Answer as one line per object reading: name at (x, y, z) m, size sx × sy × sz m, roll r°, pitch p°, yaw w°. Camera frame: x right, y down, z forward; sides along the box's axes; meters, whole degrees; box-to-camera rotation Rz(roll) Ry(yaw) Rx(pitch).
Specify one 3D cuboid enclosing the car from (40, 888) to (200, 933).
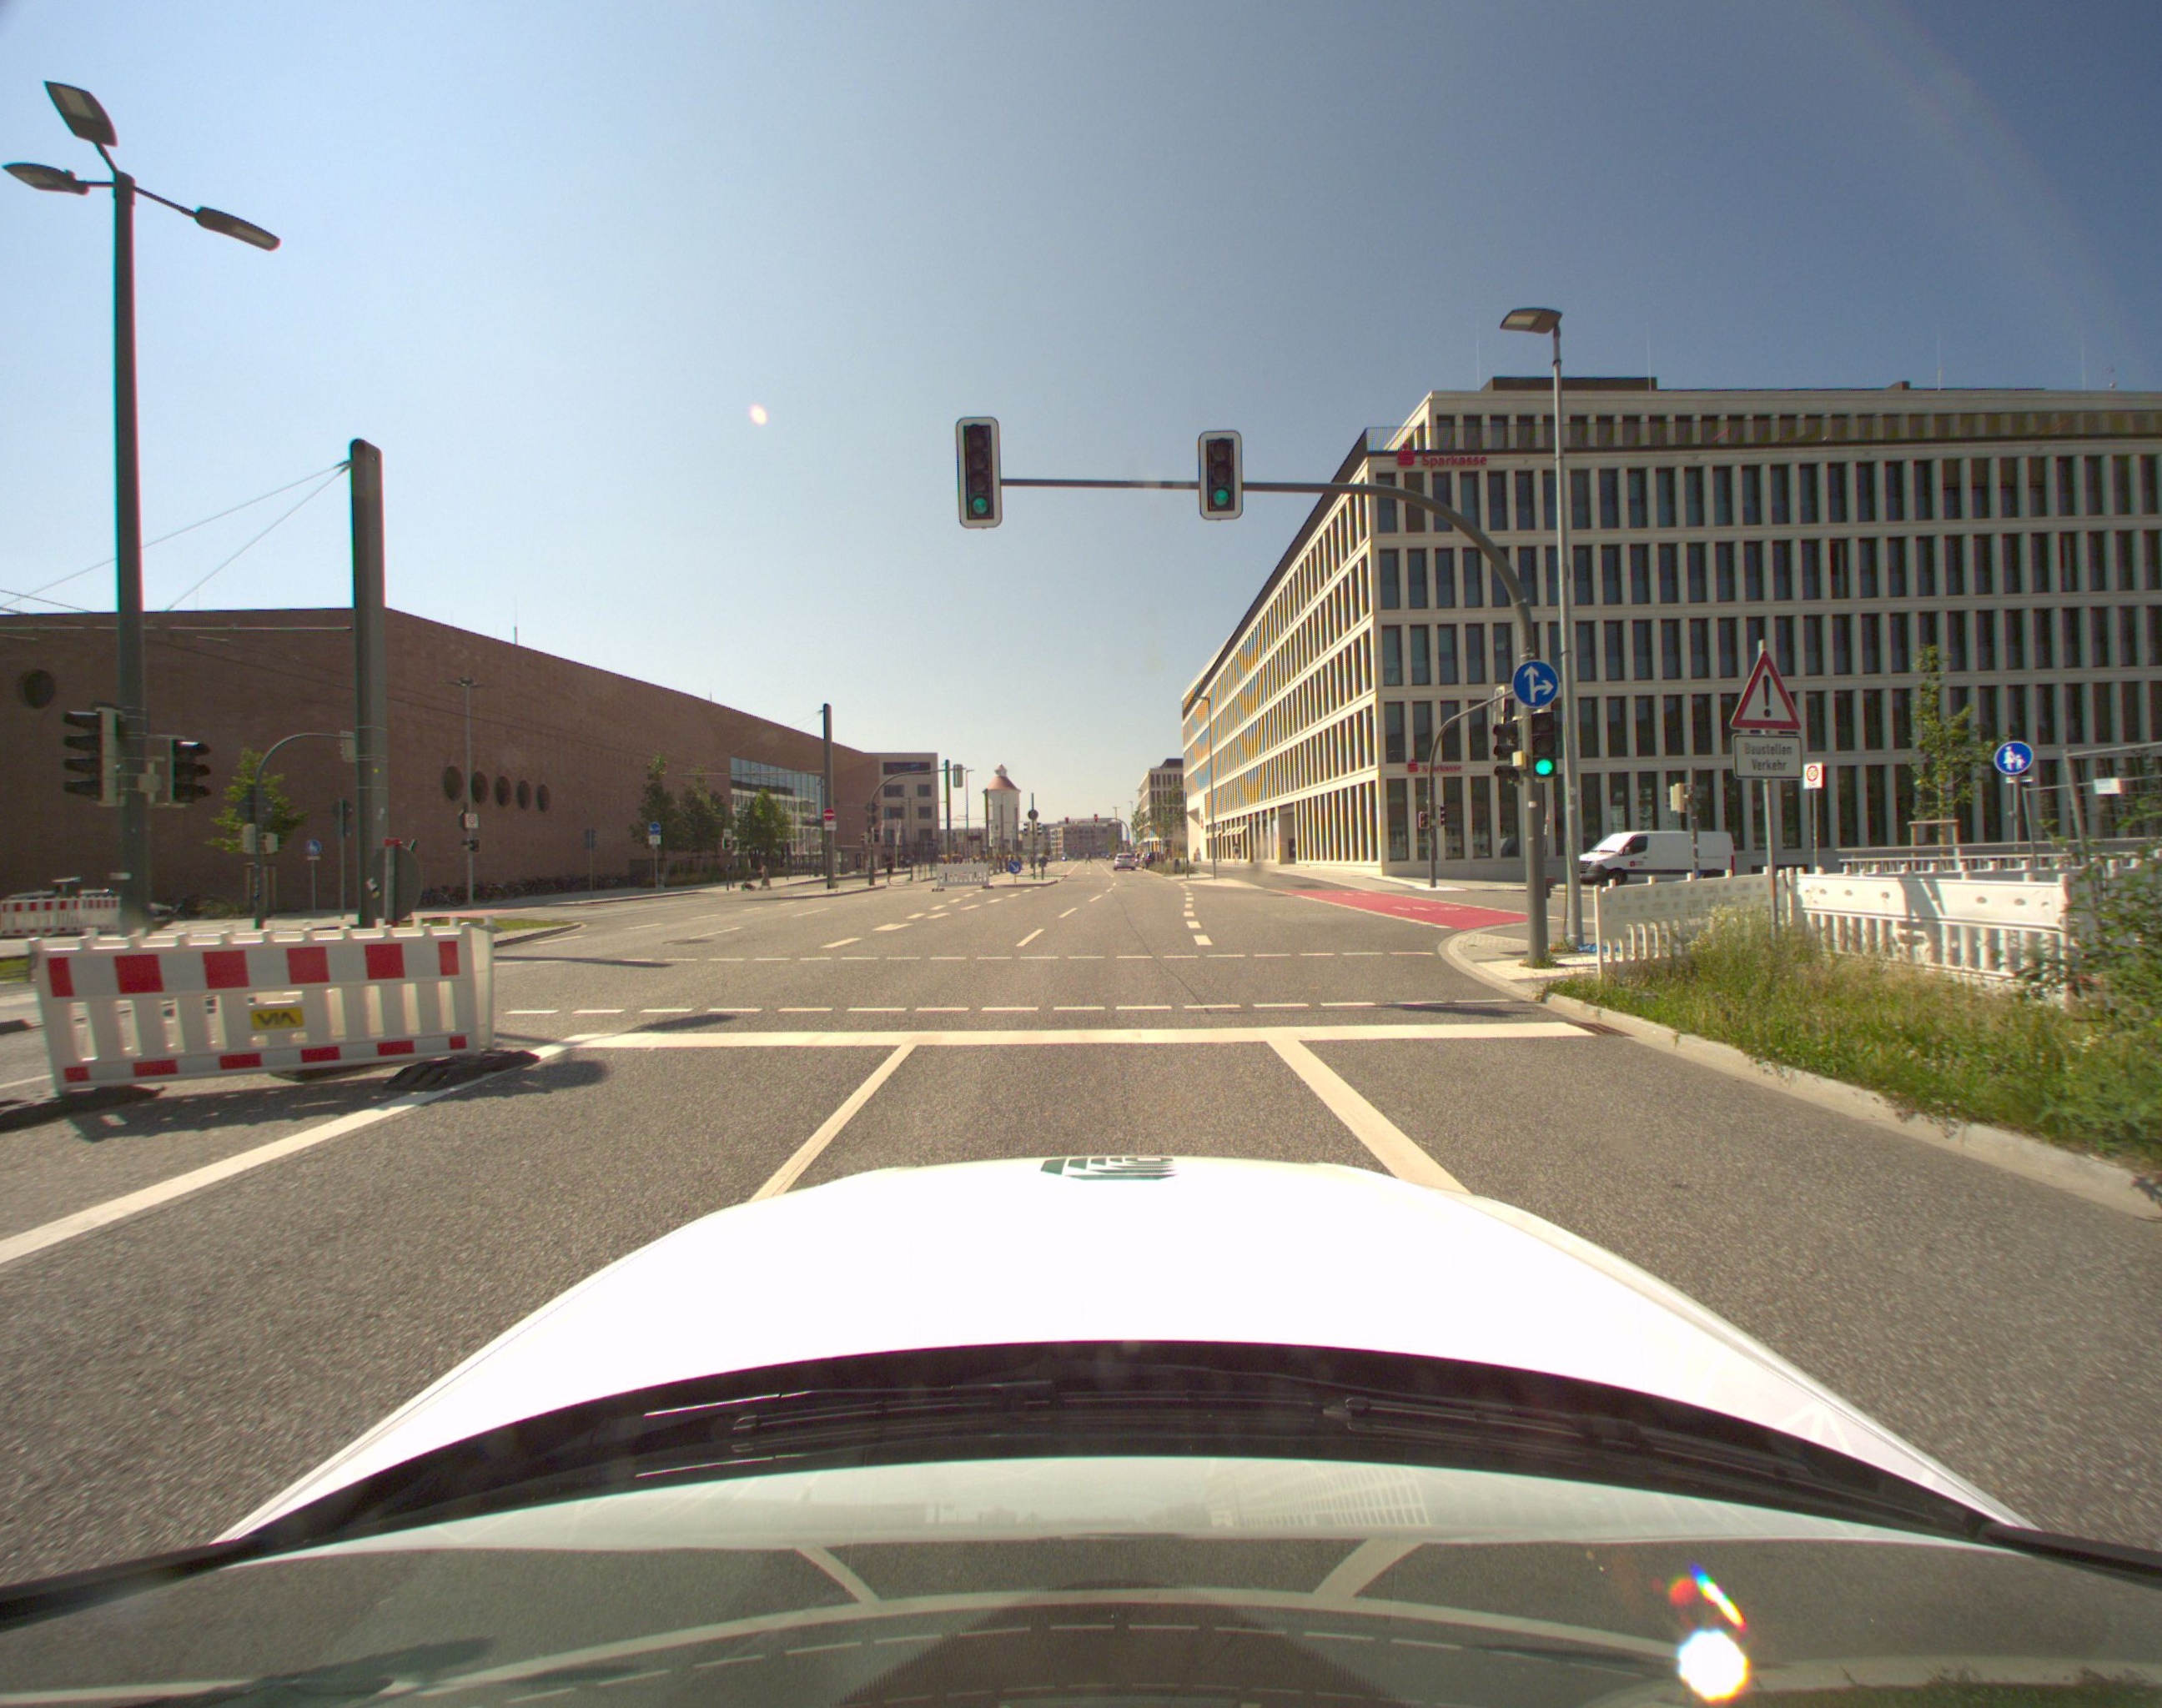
car at (-32.299, 1.875, 27.437) m, size 3.467 × 1.370 × 1.573 m, roll -1°, pitch 0°, yaw -1°

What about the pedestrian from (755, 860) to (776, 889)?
pedestrian at (-17.539, 1.138, 45.251) m, size 0.936 × 1.562 × 0.785 m, roll -1°, pitch 0°, yaw -34°

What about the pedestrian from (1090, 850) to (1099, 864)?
pedestrian at (1.925, 0.475, 120.216) m, size 1.023 × 2.013 × 0.948 m, roll -2°, pitch 0°, yaw -18°

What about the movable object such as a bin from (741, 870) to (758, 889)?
movable object such as a bin at (-18.229, 1.408, 44.786) m, size 0.718 × 1.032 × 0.785 m, roll -1°, pitch 0°, yaw -34°

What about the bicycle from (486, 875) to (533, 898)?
bicycle at (-31.267, 1.781, 44.552) m, size 2.051 × 1.212 × 0.537 m, roll -1°, pitch 0°, yaw -11°

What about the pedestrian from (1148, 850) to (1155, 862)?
pedestrian at (9.644, 0.212, 111.207) m, size 0.760 × 1.620 × 0.695 m, roll -2°, pitch 0°, yaw 17°

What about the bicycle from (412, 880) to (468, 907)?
bicycle at (-30.463, 1.868, 38.697) m, size 2.051 × 1.212 × 0.537 m, roll -1°, pitch 0°, yaw -11°

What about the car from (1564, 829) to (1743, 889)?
car at (23.292, 0.195, 33.300) m, size 5.817 × 2.270 × 2.147 m, roll 1°, pitch 0°, yaw 0°

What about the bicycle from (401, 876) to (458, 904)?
bicycle at (-30.296, 1.684, 37.899) m, size 2.051 × 1.212 × 0.537 m, roll -2°, pitch 0°, yaw -11°

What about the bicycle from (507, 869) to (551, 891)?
bicycle at (-31.832, 1.494, 46.960) m, size 2.051 × 1.212 × 0.537 m, roll -1°, pitch 0°, yaw -11°

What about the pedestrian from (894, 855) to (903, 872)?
pedestrian at (-20.081, 1.062, 89.455) m, size 0.808 × 1.820 × 0.825 m, roll 0°, pitch 0°, yaw 1°

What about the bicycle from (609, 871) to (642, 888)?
bicycle at (-32.923, 1.839, 58.876) m, size 2.051 × 1.212 × 0.537 m, roll -1°, pitch 0°, yaw -11°

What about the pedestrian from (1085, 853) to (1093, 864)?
pedestrian at (1.185, 0.681, 119.033) m, size 0.896 × 1.674 × 1.007 m, roll -2°, pitch 0°, yaw -18°

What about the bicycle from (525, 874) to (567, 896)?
bicycle at (-31.869, 1.836, 48.538) m, size 2.051 × 1.212 × 0.537 m, roll -1°, pitch 0°, yaw -11°

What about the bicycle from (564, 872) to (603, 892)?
bicycle at (-32.284, 1.790, 52.887) m, size 2.051 × 1.212 × 0.537 m, roll -1°, pitch 0°, yaw -11°

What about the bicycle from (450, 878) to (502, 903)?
bicycle at (-30.590, 1.846, 41.172) m, size 2.052 × 1.212 × 0.537 m, roll -1°, pitch 0°, yaw -12°

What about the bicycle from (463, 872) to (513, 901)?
bicycle at (-30.965, 1.700, 42.535) m, size 2.051 × 1.453 × 0.537 m, roll -1°, pitch 0°, yaw -11°

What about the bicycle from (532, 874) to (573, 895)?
bicycle at (-32.447, 1.876, 50.006) m, size 2.051 × 1.212 × 0.537 m, roll -1°, pitch 0°, yaw -11°

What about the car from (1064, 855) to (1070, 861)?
car at (-3.918, 1.111, 230.355) m, size 1.582 × 1.530 × 3.691 m, roll -1°, pitch -1°, yaw -1°

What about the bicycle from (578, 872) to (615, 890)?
bicycle at (-33.084, 1.836, 55.616) m, size 2.051 × 1.212 × 0.537 m, roll -1°, pitch 0°, yaw -11°

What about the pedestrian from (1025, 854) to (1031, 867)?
pedestrian at (-7.593, 0.928, 116.447) m, size 0.763 × 1.734 × 0.692 m, roll -2°, pitch 0°, yaw 1°

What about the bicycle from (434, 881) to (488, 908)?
bicycle at (-30.448, 1.986, 40.025) m, size 2.051 × 1.212 × 0.537 m, roll -1°, pitch 0°, yaw -11°

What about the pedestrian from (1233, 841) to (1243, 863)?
pedestrian at (12.599, -0.131, 65.447) m, size 0.625 × 1.742 × 0.814 m, roll -2°, pitch 0°, yaw 0°

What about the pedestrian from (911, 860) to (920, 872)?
pedestrian at (-26.370, 1.927, 129.616) m, size 0.880 × 1.890 × 0.989 m, roll -2°, pitch 0°, yaw 20°

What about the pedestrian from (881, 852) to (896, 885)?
pedestrian at (-10.678, 0.784, 45.150) m, size 0.649 × 1.833 × 0.662 m, roll 0°, pitch 0°, yaw 5°

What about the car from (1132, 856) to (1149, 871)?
car at (6.283, 0.962, 86.547) m, size 1.551 × 1.472 × 3.470 m, roll -2°, pitch 0°, yaw 0°

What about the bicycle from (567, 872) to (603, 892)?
bicycle at (-32.885, 1.855, 53.969) m, size 1.881 × 1.212 × 0.745 m, roll -1°, pitch 0°, yaw -7°

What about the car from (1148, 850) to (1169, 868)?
car at (6.748, 0.436, 71.414) m, size 1.728 × 1.474 × 3.985 m, roll -1°, pitch -1°, yaw 5°

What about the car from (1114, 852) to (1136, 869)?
car at (3.735, 0.541, 69.448) m, size 1.764 × 1.395 × 3.533 m, roll 0°, pitch -1°, yaw 2°

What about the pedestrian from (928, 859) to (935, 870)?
pedestrian at (-21.286, 1.492, 115.914) m, size 0.708 × 1.572 × 0.890 m, roll -2°, pitch 0°, yaw 0°

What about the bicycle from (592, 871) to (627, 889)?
bicycle at (-33.345, 1.857, 57.663) m, size 2.051 × 1.212 × 0.537 m, roll -1°, pitch 0°, yaw -11°
